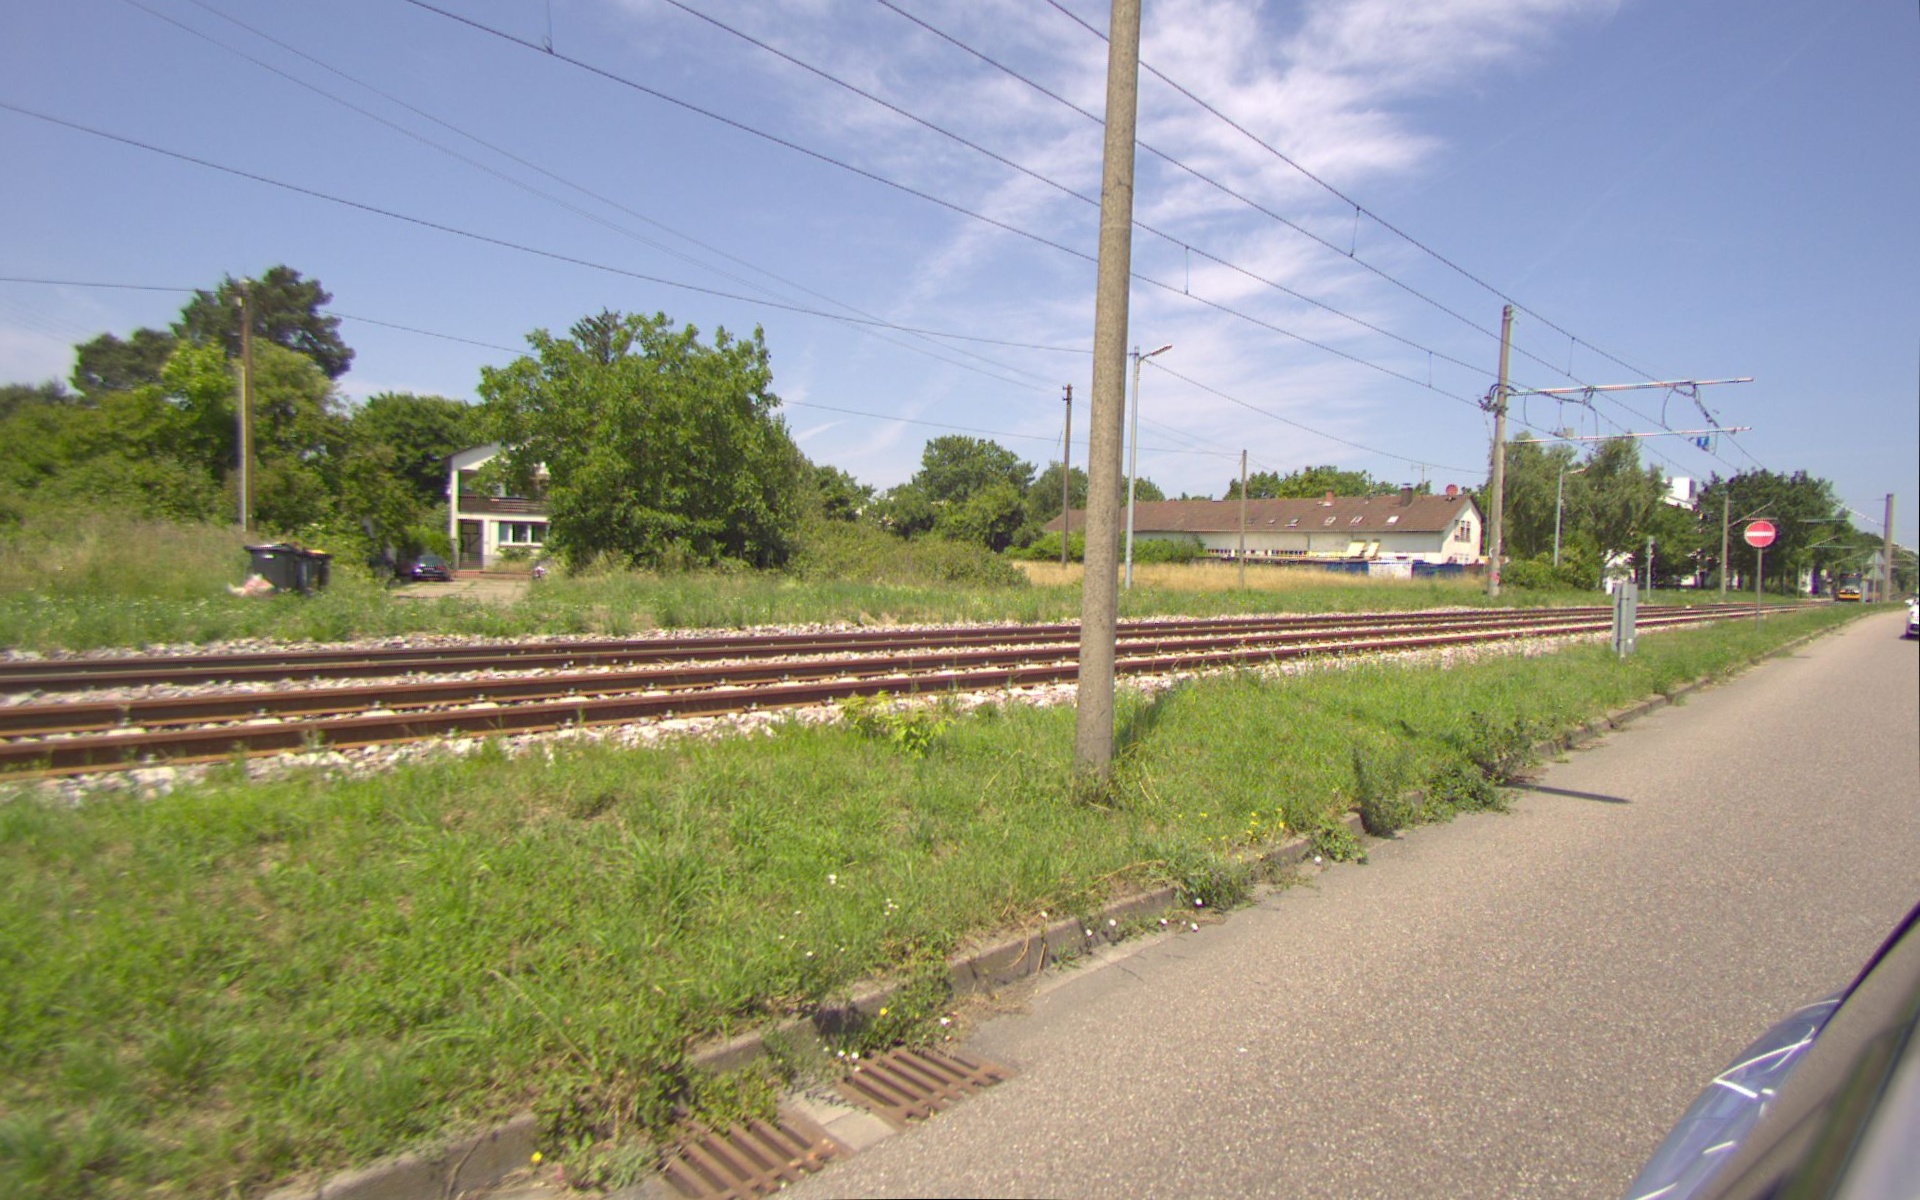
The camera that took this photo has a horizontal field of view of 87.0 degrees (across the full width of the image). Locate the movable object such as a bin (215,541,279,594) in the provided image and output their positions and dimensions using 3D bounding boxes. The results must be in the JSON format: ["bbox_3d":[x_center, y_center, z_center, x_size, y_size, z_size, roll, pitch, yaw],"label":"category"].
[{"bbox_3d":[-13.031,-0.598,18.517,0.811,0.946,0.587,0,3,-20],"label":"movable object such as a bin"}]

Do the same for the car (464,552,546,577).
[{"bbox_3d":[-27.855,-2.190,62.004,4.458,1.437,1.990,2,3,18],"label":"car"}]

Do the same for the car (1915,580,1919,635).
[{"bbox_3d":[27.692,0.193,27.682,4.056,1.459,1.772,-2,4,-39],"label":"car"}]

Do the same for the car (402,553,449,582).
[{"bbox_3d":[-28.463,-1.769,53.845,1.960,1.437,4.005,-1,3,-31],"label":"car"}]

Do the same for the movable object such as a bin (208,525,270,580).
[{"bbox_3d":[-12.662,-0.830,17.781,0.786,0.946,0.450,0,3,-20],"label":"movable object such as a bin"}]

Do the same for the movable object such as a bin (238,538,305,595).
[{"bbox_3d":[-11.752,-0.577,17.302,0.763,0.946,0.805,0,3,-20],"label":"movable object such as a bin"}]
